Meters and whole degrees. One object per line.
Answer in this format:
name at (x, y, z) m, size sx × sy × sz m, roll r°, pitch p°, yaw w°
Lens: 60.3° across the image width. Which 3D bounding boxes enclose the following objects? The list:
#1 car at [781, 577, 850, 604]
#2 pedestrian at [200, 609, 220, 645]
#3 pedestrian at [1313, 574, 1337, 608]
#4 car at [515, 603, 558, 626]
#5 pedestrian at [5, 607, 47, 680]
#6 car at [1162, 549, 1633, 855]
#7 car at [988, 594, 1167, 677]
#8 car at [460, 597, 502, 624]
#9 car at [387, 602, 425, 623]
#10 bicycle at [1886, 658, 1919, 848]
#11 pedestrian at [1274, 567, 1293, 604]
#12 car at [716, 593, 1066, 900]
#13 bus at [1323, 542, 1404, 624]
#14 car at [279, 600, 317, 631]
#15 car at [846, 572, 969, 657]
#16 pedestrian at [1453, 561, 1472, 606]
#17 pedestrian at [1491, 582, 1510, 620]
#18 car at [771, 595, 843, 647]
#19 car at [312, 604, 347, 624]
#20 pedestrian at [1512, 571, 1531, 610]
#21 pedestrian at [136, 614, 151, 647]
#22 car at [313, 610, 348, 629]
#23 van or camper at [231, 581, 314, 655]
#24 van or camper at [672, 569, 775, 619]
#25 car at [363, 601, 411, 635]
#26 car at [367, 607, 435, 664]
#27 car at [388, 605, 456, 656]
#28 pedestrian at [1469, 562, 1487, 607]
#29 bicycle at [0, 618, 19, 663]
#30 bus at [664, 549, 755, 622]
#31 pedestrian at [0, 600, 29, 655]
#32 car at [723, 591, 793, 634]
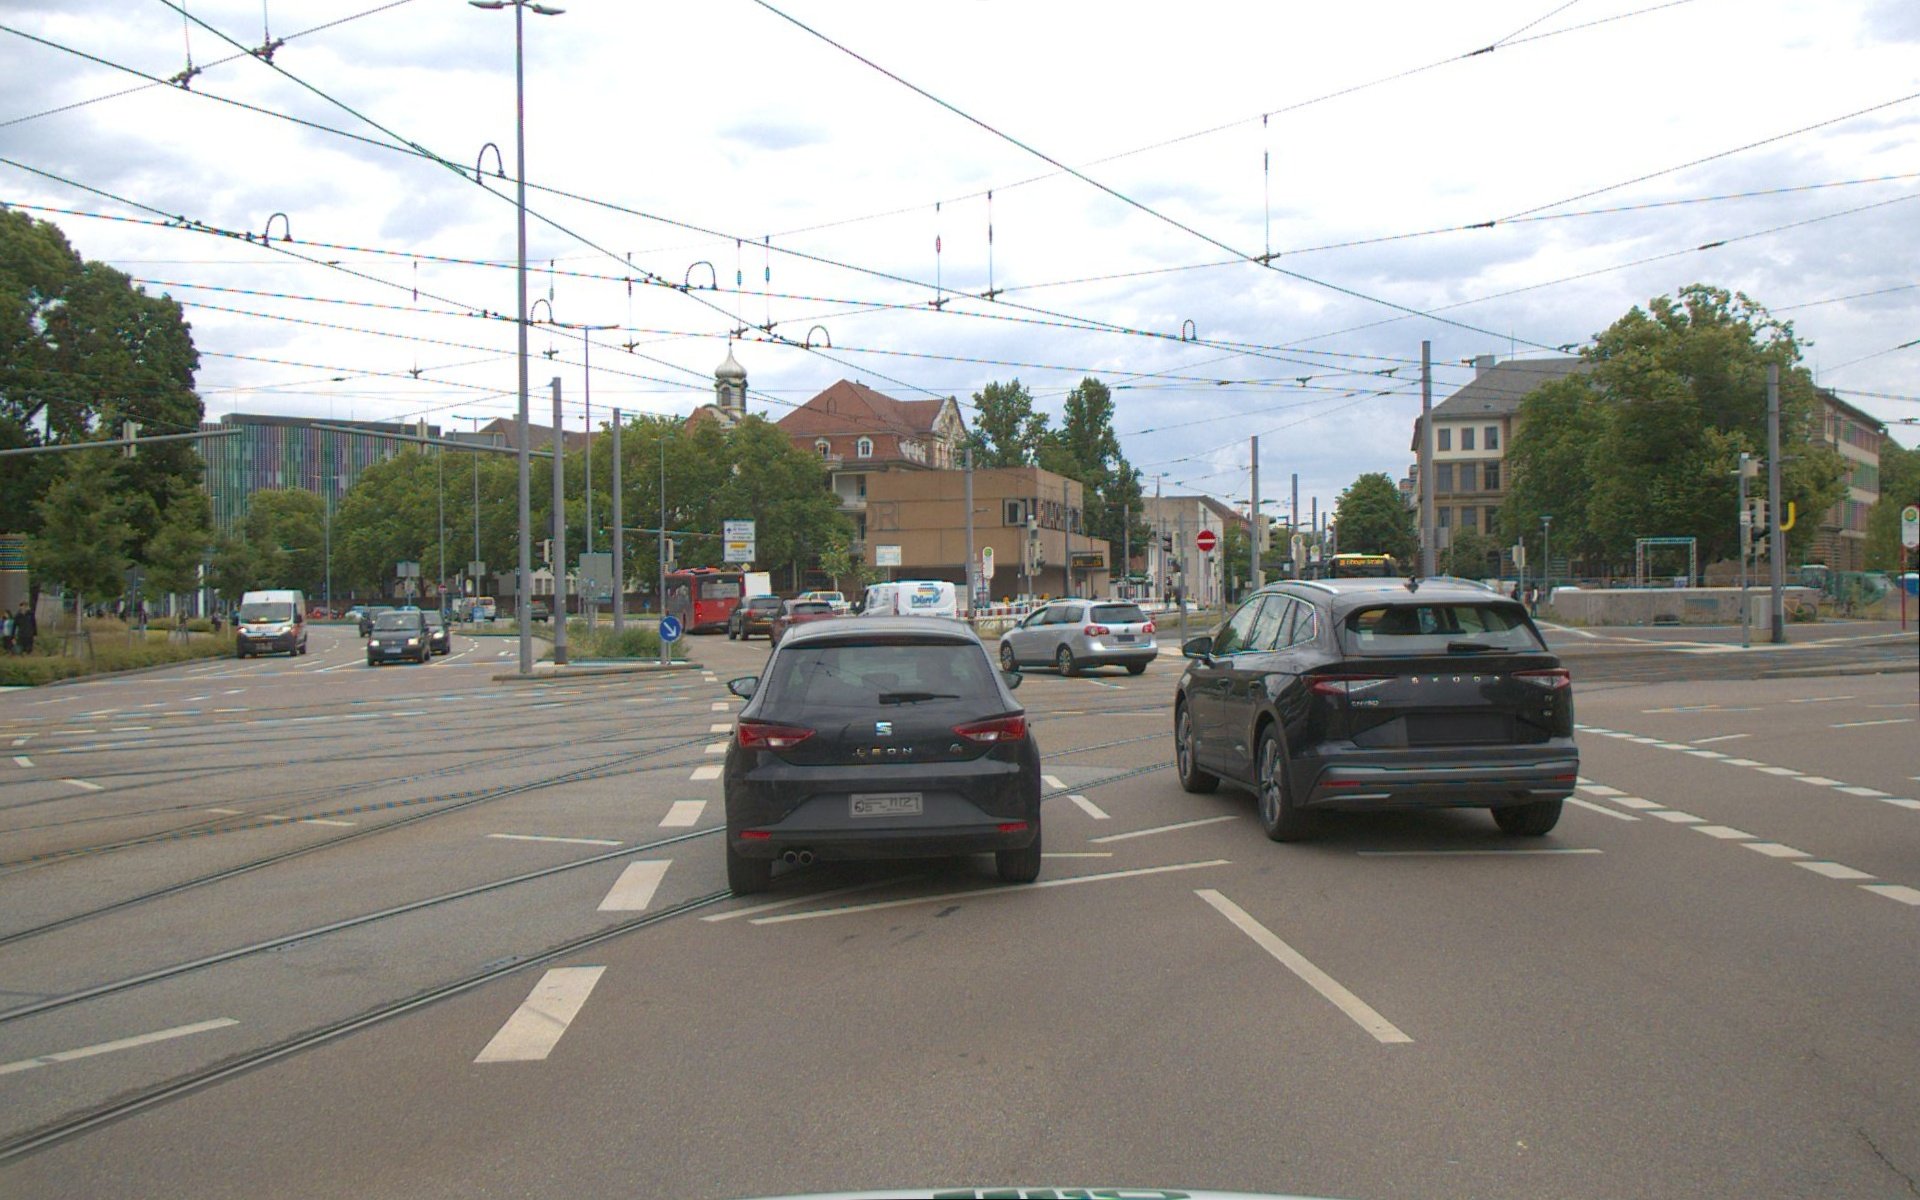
car at (-11.053, -0.722, 126.851) m, size 4.959 × 1.897 × 1.971 m, roll -1°, pitch -3°, yaw -41°
pedestrian at (-40.581, 1.449, 89.484) m, size 0.879 × 1.874 × 0.663 m, roll -1°, pitch 0°, yaw -19°
pedestrian at (18.160, -0.466, 82.320) m, size 0.983 × 1.673 × 1.021 m, roll -1°, pitch 0°, yaw 20°
car at (-29.681, 1.001, 115.836) m, size 1.972 × 1.566 × 3.962 m, roll -1°, pitch 0°, yaw -29°
pedestrian at (-26.608, 1.225, 47.110) m, size 0.804 × 2.015 × 0.657 m, roll -2°, pitch 0°, yaw -11°
car at (2.764, 0.566, 11.634) m, size 1.865 × 1.687 × 4.511 m, roll -1°, pitch 0°, yaw -3°
car at (2.308, 0.679, 33.773) m, size 1.698 × 1.508 × 4.594 m, roll -2°, pitch 1°, yaw -24°
car at (-36.948, 0.792, 127.543) m, size 1.977 × 2.049 × 3.951 m, roll -1°, pitch 0°, yaw -35°
car at (-47.833, 1.103, 142.722) m, size 1.978 × 1.780 × 3.949 m, roll -1°, pitch 0°, yaw -36°
bicycle at (5.773, 0.888, 8.737) m, size 0.612 × 1.073 × 2.126 m, roll -1°, pitch 1°, yaw 2°
pedestrian at (16.607, -0.753, 84.909) m, size 0.806 × 1.840 × 1.021 m, roll -1°, pitch 0°, yaw 20°
car at (-0.476, 0.707, 10.131) m, size 1.711 × 1.489 × 3.997 m, roll 0°, pitch 0°, yaw -4°
bus at (18.416, -0.752, 74.869) m, size 2.952 × 3.325 × 13.051 m, roll -1°, pitch 0°, yaw 16°
car at (-45.939, 1.060, 114.746) m, size 1.971 × 2.049 × 3.962 m, roll -1°, pitch 0°, yaw -29°
car at (-1.467, 0.355, 43.575) m, size 1.962 × 2.054 × 5.007 m, roll -1°, pitch 0°, yaw -17°
pedestrian at (49.054, -1.615, 161.474) m, size 1.357 × 4.328 × 1.347 m, roll -1°, pitch 0°, yaw 4°
pedestrian at (26.809, 0.058, 82.007) m, size 0.806 × 1.840 × 1.021 m, roll -3°, pitch -2°, yaw 20°
car at (-5.102, 0.663, 54.750) m, size 1.826 × 1.628 × 4.191 m, roll -1°, pitch 0°, yaw -13°
car at (-57.901, 1.273, 151.810) m, size 1.980 × 1.711 × 3.957 m, roll -1°, pitch 0°, yaw -37°
pedestrian at (27.531, -0.446, 81.070) m, size 0.806 × 1.886 × 1.021 m, roll -1°, pitch 0°, yaw 20°
pedestrian at (-39.857, 1.484, 80.780) m, size 0.553 × 1.568 × 0.751 m, roll -1°, pitch 0°, yaw -20°
car at (-61.383, 1.906, 161.265) m, size 1.982 × 1.780 × 3.940 m, roll 0°, pitch 0°, yaw -41°
van or camper at (-26.004, 0.656, 62.734) m, size 2.243 × 2.571 × 5.547 m, roll -2°, pitch 0°, yaw -17°
van or camper at (-17.344, -0.461, 121.551) m, size 7.088 × 3.390 × 2.834 m, roll -2°, pitch -1°, yaw -41°
car at (-31.627, 0.991, 91.210) m, size 1.848 × 1.755 × 4.672 m, roll -3°, pitch 0°, yaw -26°
car at (-16.470, 1.000, 48.840) m, size 1.591 × 1.542 × 3.650 m, roll -2°, pitch 0°, yaw -15°
car at (-18.250, 1.009, 56.221) m, size 1.840 × 1.534 × 4.461 m, roll -4°, pitch 1°, yaw -15°
pedestrian at (50.552, -1.515, 161.413) m, size 1.279 × 4.328 × 1.347 m, roll -1°, pitch 0°, yaw 4°
bicycle at (-32.258, 1.367, 54.597) m, size 0.828 × 1.474 × 2.256 m, roll -1°, pitch 0°, yaw 9°
bus at (-12.704, -0.668, 82.862) m, size 3.008 × 3.355 × 12.326 m, roll -1°, pitch 0°, yaw -15°
pedestrian at (-31.227, 0.899, 54.490) m, size 0.733 × 1.764 × 0.684 m, roll -2°, pitch 0°, yaw -11°
car at (-7.991, 0.471, 65.078) m, size 1.963 × 1.593 × 4.183 m, roll -1°, pitch 0°, yaw -18°
